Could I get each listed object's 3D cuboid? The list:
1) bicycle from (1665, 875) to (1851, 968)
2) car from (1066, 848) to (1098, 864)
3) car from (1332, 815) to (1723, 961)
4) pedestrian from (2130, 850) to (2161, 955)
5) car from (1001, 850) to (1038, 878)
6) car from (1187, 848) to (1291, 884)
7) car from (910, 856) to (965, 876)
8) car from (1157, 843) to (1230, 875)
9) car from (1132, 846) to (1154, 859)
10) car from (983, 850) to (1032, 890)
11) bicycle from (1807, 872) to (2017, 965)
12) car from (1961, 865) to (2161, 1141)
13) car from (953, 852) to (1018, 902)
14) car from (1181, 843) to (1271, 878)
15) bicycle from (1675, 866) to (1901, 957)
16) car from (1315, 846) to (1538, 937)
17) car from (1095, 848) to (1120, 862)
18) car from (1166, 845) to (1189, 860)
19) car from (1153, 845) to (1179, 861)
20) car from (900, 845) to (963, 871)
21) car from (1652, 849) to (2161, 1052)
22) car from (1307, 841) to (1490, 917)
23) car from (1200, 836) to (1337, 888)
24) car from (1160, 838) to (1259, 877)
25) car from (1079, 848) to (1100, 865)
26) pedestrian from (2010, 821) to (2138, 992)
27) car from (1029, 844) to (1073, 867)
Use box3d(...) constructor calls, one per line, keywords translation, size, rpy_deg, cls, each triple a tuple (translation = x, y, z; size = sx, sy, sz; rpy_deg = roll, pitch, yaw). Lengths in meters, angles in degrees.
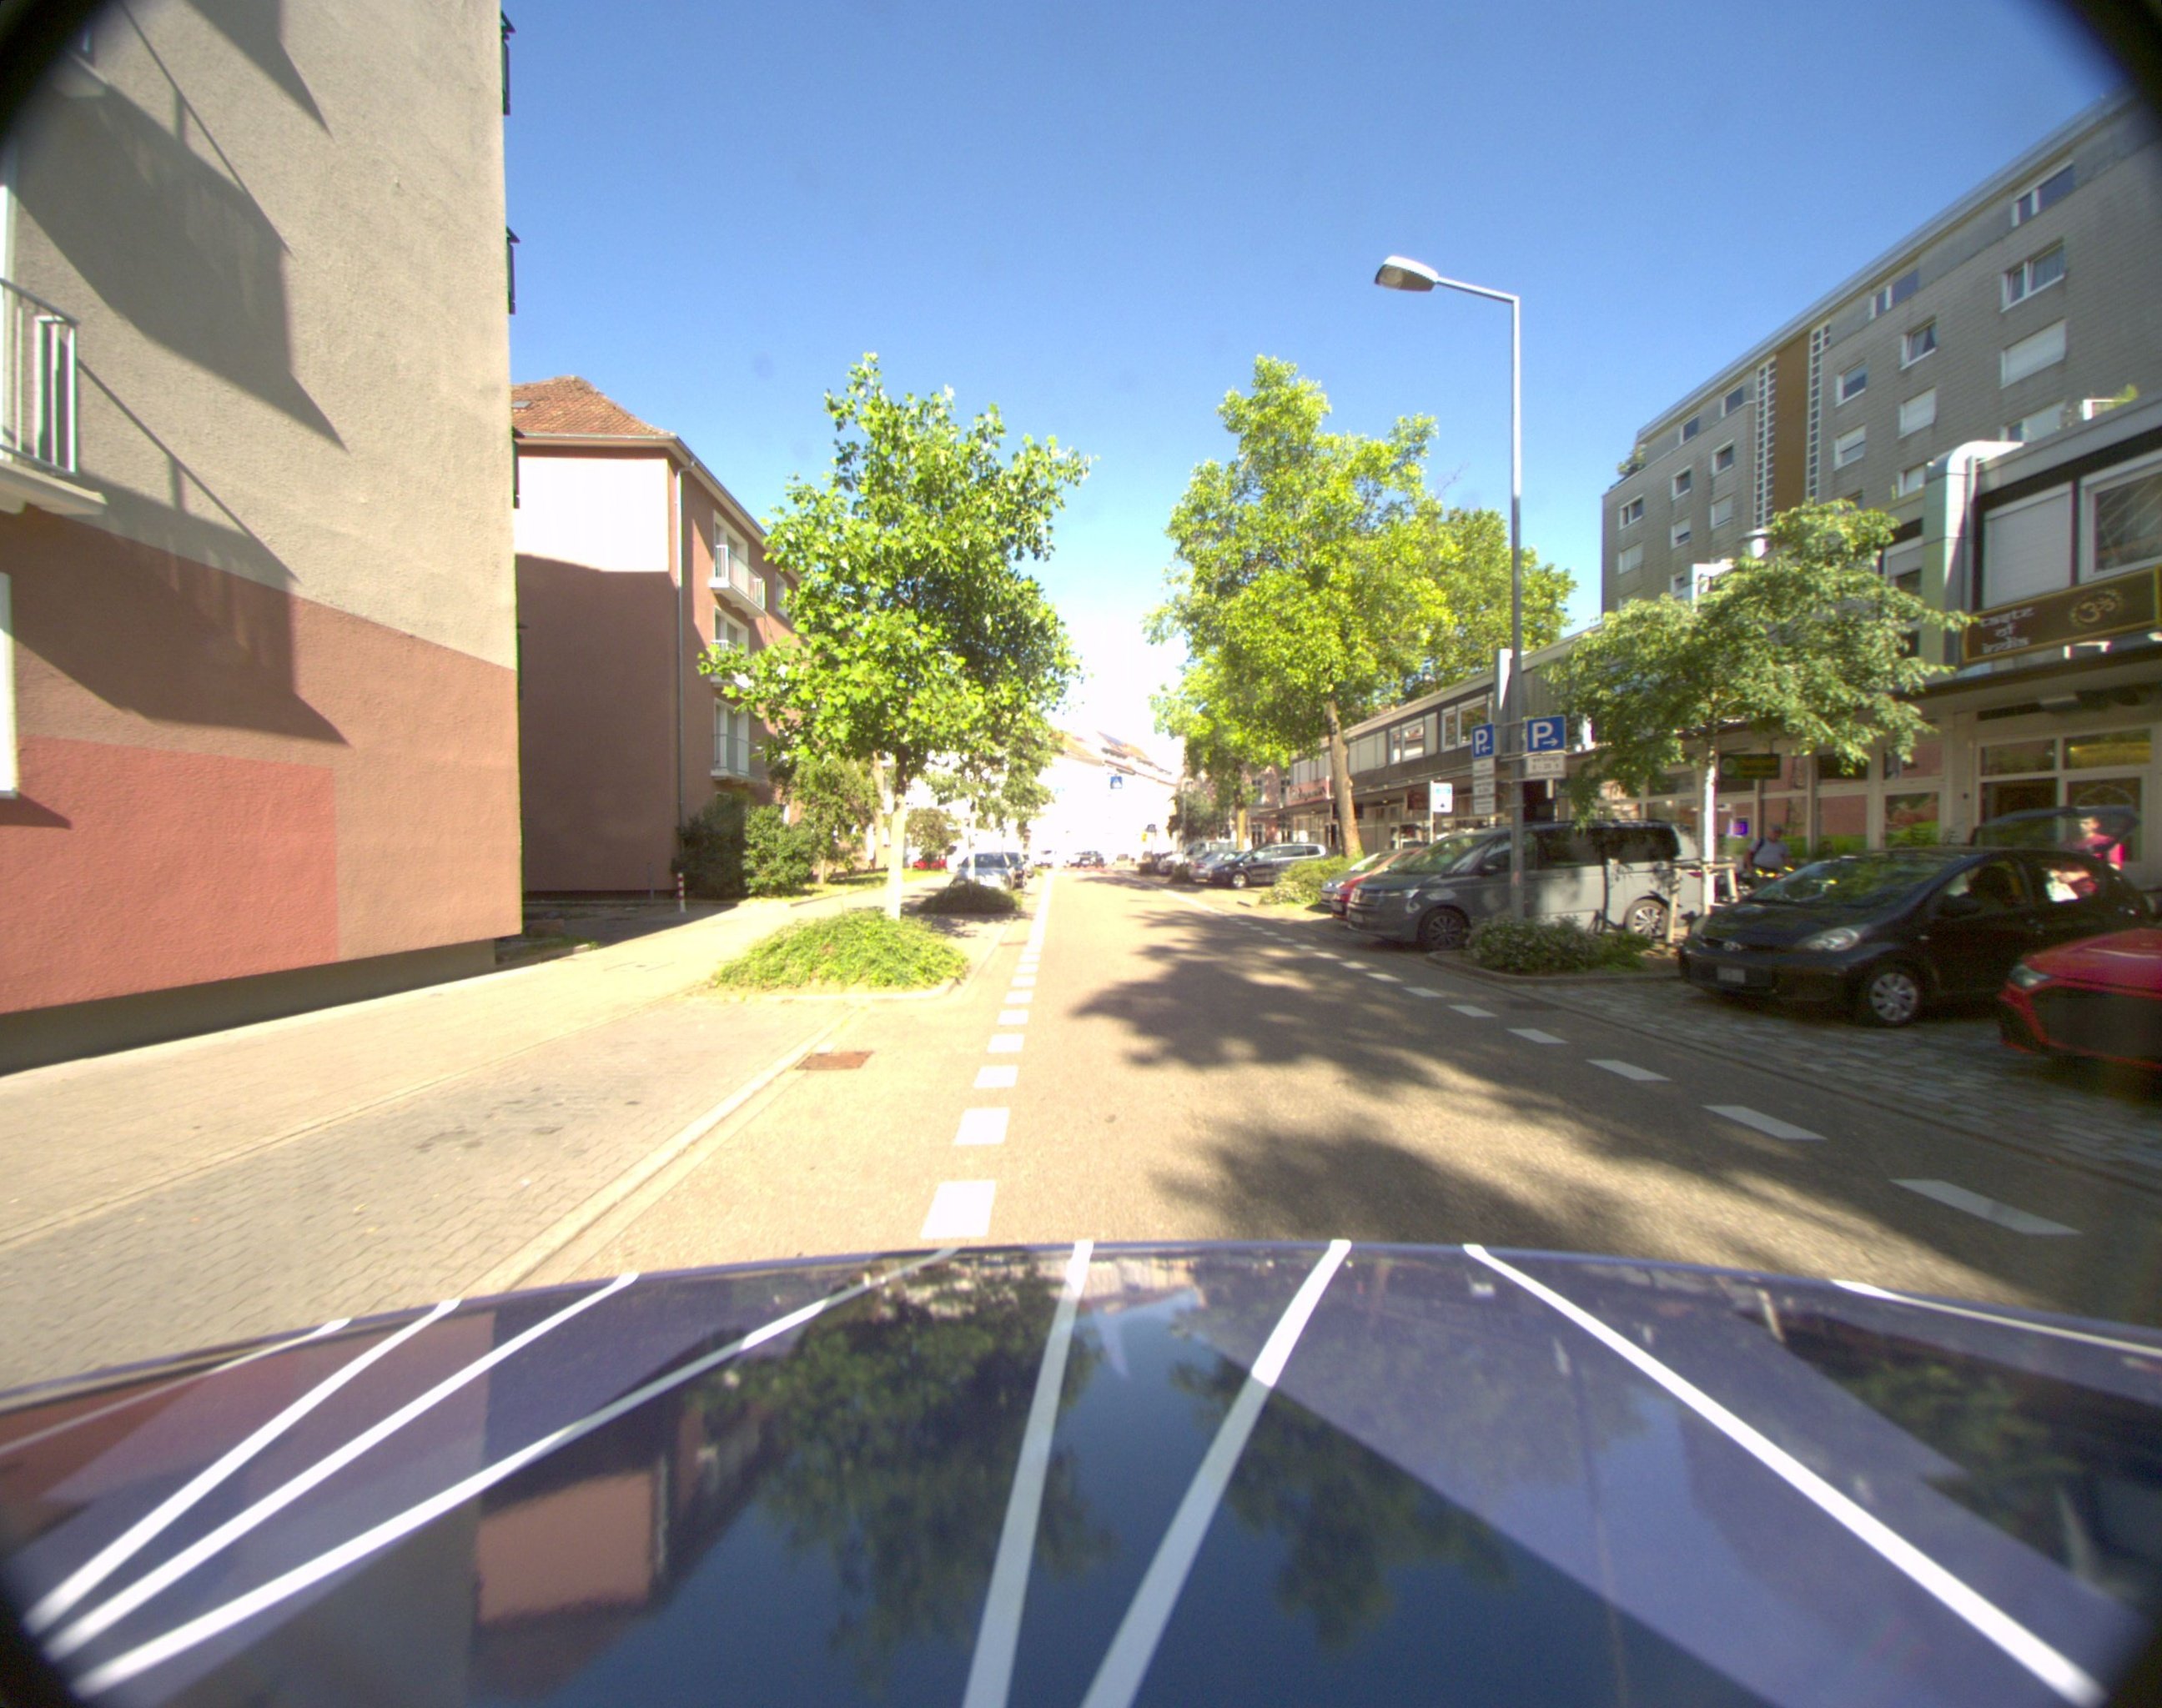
box3d(translation=(8.278, 0.806, 9.320), size=(1.868, 1.033, 0.614), rpy_deg=(-1, 1, -7), cls="bicycle")
box3d(translation=(0.142, 0.220, 75.496), size=(2.131, 1.487, 3.950), rpy_deg=(-1, 1, 17), cls="car")
box3d(translation=(6.812, 0.486, 11.987), size=(5.043, 1.927, 1.872), rpy_deg=(-2, 1, 0), cls="car")
box3d(translation=(13.101, 0.571, 8.873), size=(0.651, 1.239, 0.746), rpy_deg=(-1, 1, -1), cls="pedestrian")
box3d(translation=(-3.298, 0.509, 41.670), size=(1.736, 1.420, 3.999), rpy_deg=(-1, 1, -1), cls="car")
box3d(translation=(6.626, 0.478, 32.124), size=(3.998, 1.390, 1.759), rpy_deg=(-1, 1, -4), cls="car")
box3d(translation=(-10.440, 0.876, 55.447), size=(3.648, 1.394, 1.567), rpy_deg=(-1, 1, -2), cls="car")
box3d(translation=(6.561, 0.279, 44.536), size=(3.998, 1.781, 1.757), rpy_deg=(-1, 1, -3), cls="car")
box3d(translation=(7.161, -0.137, 87.319), size=(1.632, 1.413, 3.299), rpy_deg=(0, 1, 22), cls="car")
box3d(translation=(-2.956, 0.598, 31.274), size=(1.662, 1.474, 4.310), rpy_deg=(-1, 1, -1), cls="car")
box3d(translation=(9.884, 0.750, 9.076), size=(1.867, 1.033, 0.615), rpy_deg=(-1, 1, -2), cls="bicycle")
box3d(translation=(7.891, 0.788, 4.313), size=(3.928, 1.442, 1.709), rpy_deg=(-2, 1, -2), cls="car")
box3d(translation=(-3.050, 0.687, 25.004), size=(1.720, 1.446, 3.998), rpy_deg=(0, 1, -1), cls="car")
box3d(translation=(7.103, 0.313, 37.388), size=(3.998, 1.413, 1.736), rpy_deg=(-4, 1, -3), cls="car")
box3d(translation=(9.541, 0.764, 10.336), size=(2.241, 1.161, 0.801), rpy_deg=(-1, 1, 4), cls="bicycle")
box3d(translation=(6.639, 0.682, 14.844), size=(3.567, 1.545, 1.661), rpy_deg=(-2, 1, -2), cls="car")
box3d(translation=(2.899, 0.096, 82.366), size=(1.632, 1.413, 3.299), rpy_deg=(0, 1, 22), cls="car")
box3d(translation=(10.563, -0.182, 83.132), size=(1.505, 1.652, 4.006), rpy_deg=(0, 1, 23), cls="car")
box3d(translation=(8.806, -0.096, 78.522), size=(1.670, 1.628, 4.054), rpy_deg=(0, 1, 22), cls="car")
box3d(translation=(-11.886, 0.297, 60.754), size=(4.757, 2.002, 1.999), rpy_deg=(-1, 1, -6), cls="car")
box3d(translation=(7.584, 0.750, 6.905), size=(3.677, 1.442, 1.612), rpy_deg=(-2, 1, -5), cls="car")
box3d(translation=(7.397, 0.552, 17.938), size=(3.596, 1.552, 1.672), rpy_deg=(-2, 1, -1), cls="car")
box3d(translation=(7.233, 0.285, 29.611), size=(4.782, 1.767, 1.873), rpy_deg=(-2, 1, -3), cls="car")
box3d(translation=(7.047, 0.161, 41.974), size=(4.996, 1.958, 1.909), rpy_deg=(-2, 1, -3), cls="car")
box3d(translation=(0.665, 0.188, 64.902), size=(1.612, 1.445, 3.293), rpy_deg=(0, 1, -3), cls="car")
box3d(translation=(10.385, 0.520, 7.972), size=(0.579, 1.702, 0.636), rpy_deg=(0, 1, 26), cls="pedestrian")
box3d(translation=(-2.596, 0.076, 67.274), size=(1.909, 1.924, 4.816), rpy_deg=(0, 1, 25), cls="car")
